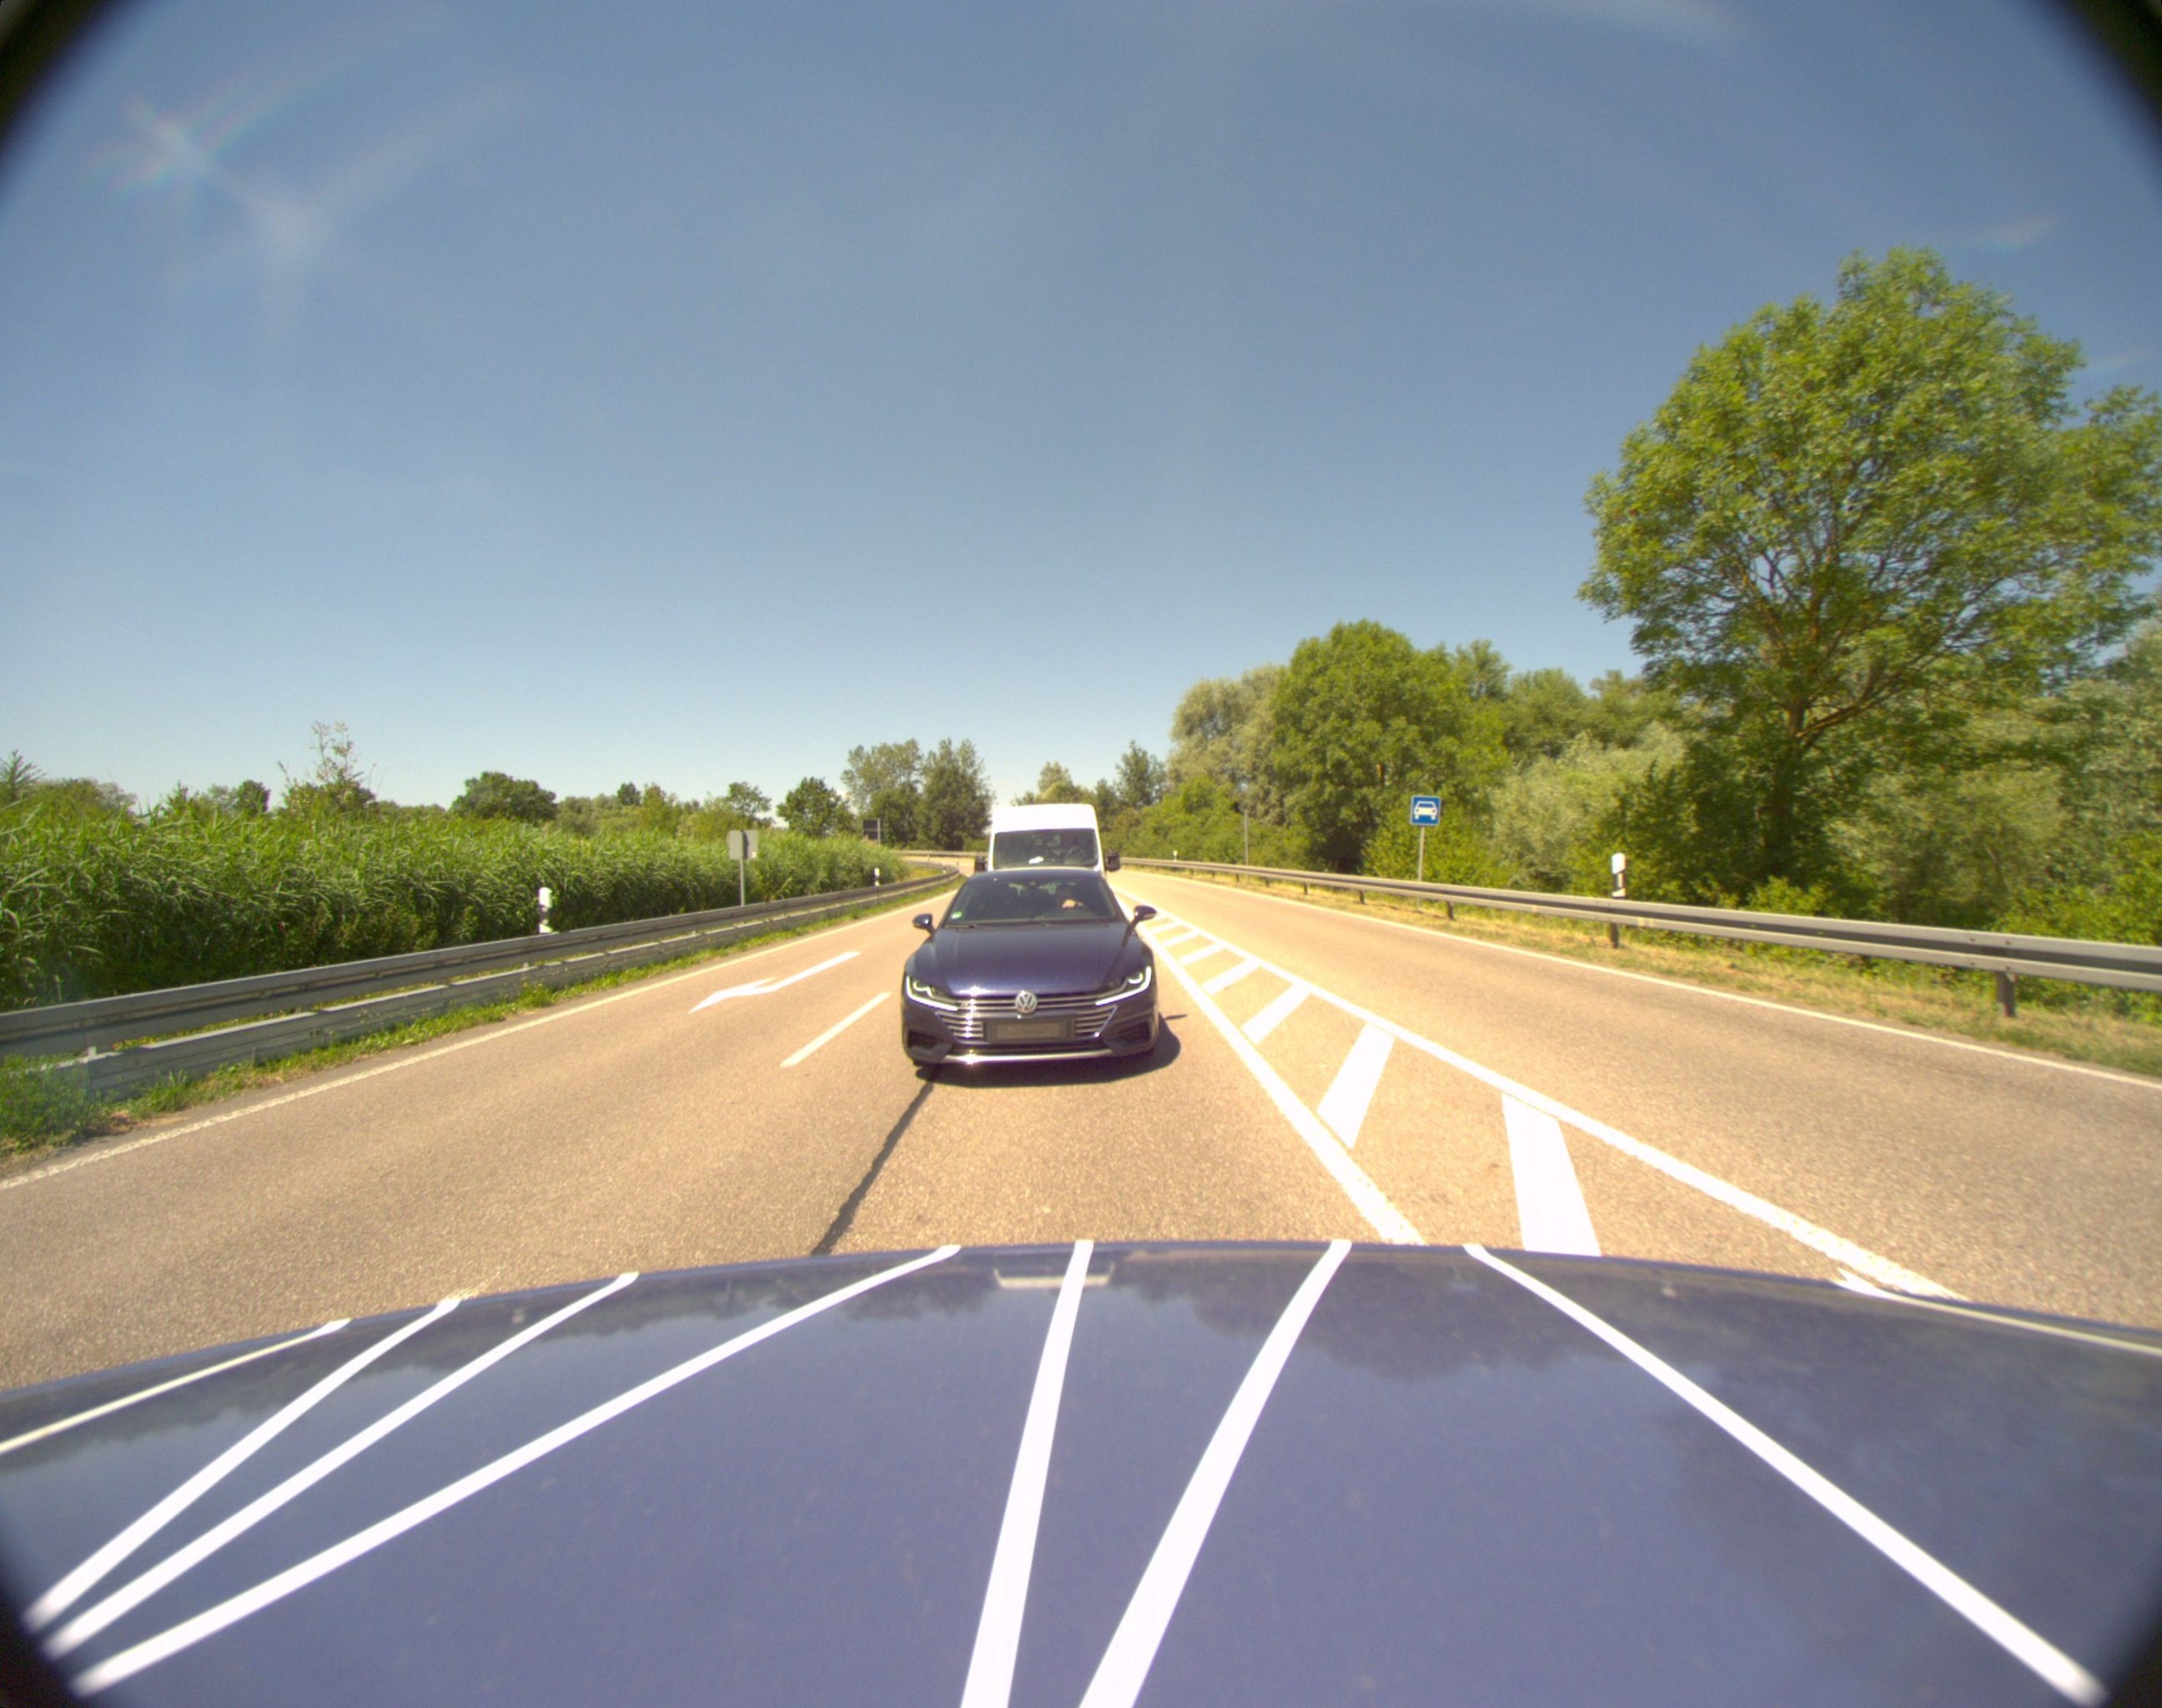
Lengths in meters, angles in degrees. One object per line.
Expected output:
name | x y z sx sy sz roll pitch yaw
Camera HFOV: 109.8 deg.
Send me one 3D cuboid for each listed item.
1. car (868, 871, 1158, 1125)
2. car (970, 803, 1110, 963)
car | -0.412 0.948 6.748 1.761 1.401 3.999 -2 1 0
car | -0.612 0.417 14.596 2.059 2.376 5.826 -2 1 0
